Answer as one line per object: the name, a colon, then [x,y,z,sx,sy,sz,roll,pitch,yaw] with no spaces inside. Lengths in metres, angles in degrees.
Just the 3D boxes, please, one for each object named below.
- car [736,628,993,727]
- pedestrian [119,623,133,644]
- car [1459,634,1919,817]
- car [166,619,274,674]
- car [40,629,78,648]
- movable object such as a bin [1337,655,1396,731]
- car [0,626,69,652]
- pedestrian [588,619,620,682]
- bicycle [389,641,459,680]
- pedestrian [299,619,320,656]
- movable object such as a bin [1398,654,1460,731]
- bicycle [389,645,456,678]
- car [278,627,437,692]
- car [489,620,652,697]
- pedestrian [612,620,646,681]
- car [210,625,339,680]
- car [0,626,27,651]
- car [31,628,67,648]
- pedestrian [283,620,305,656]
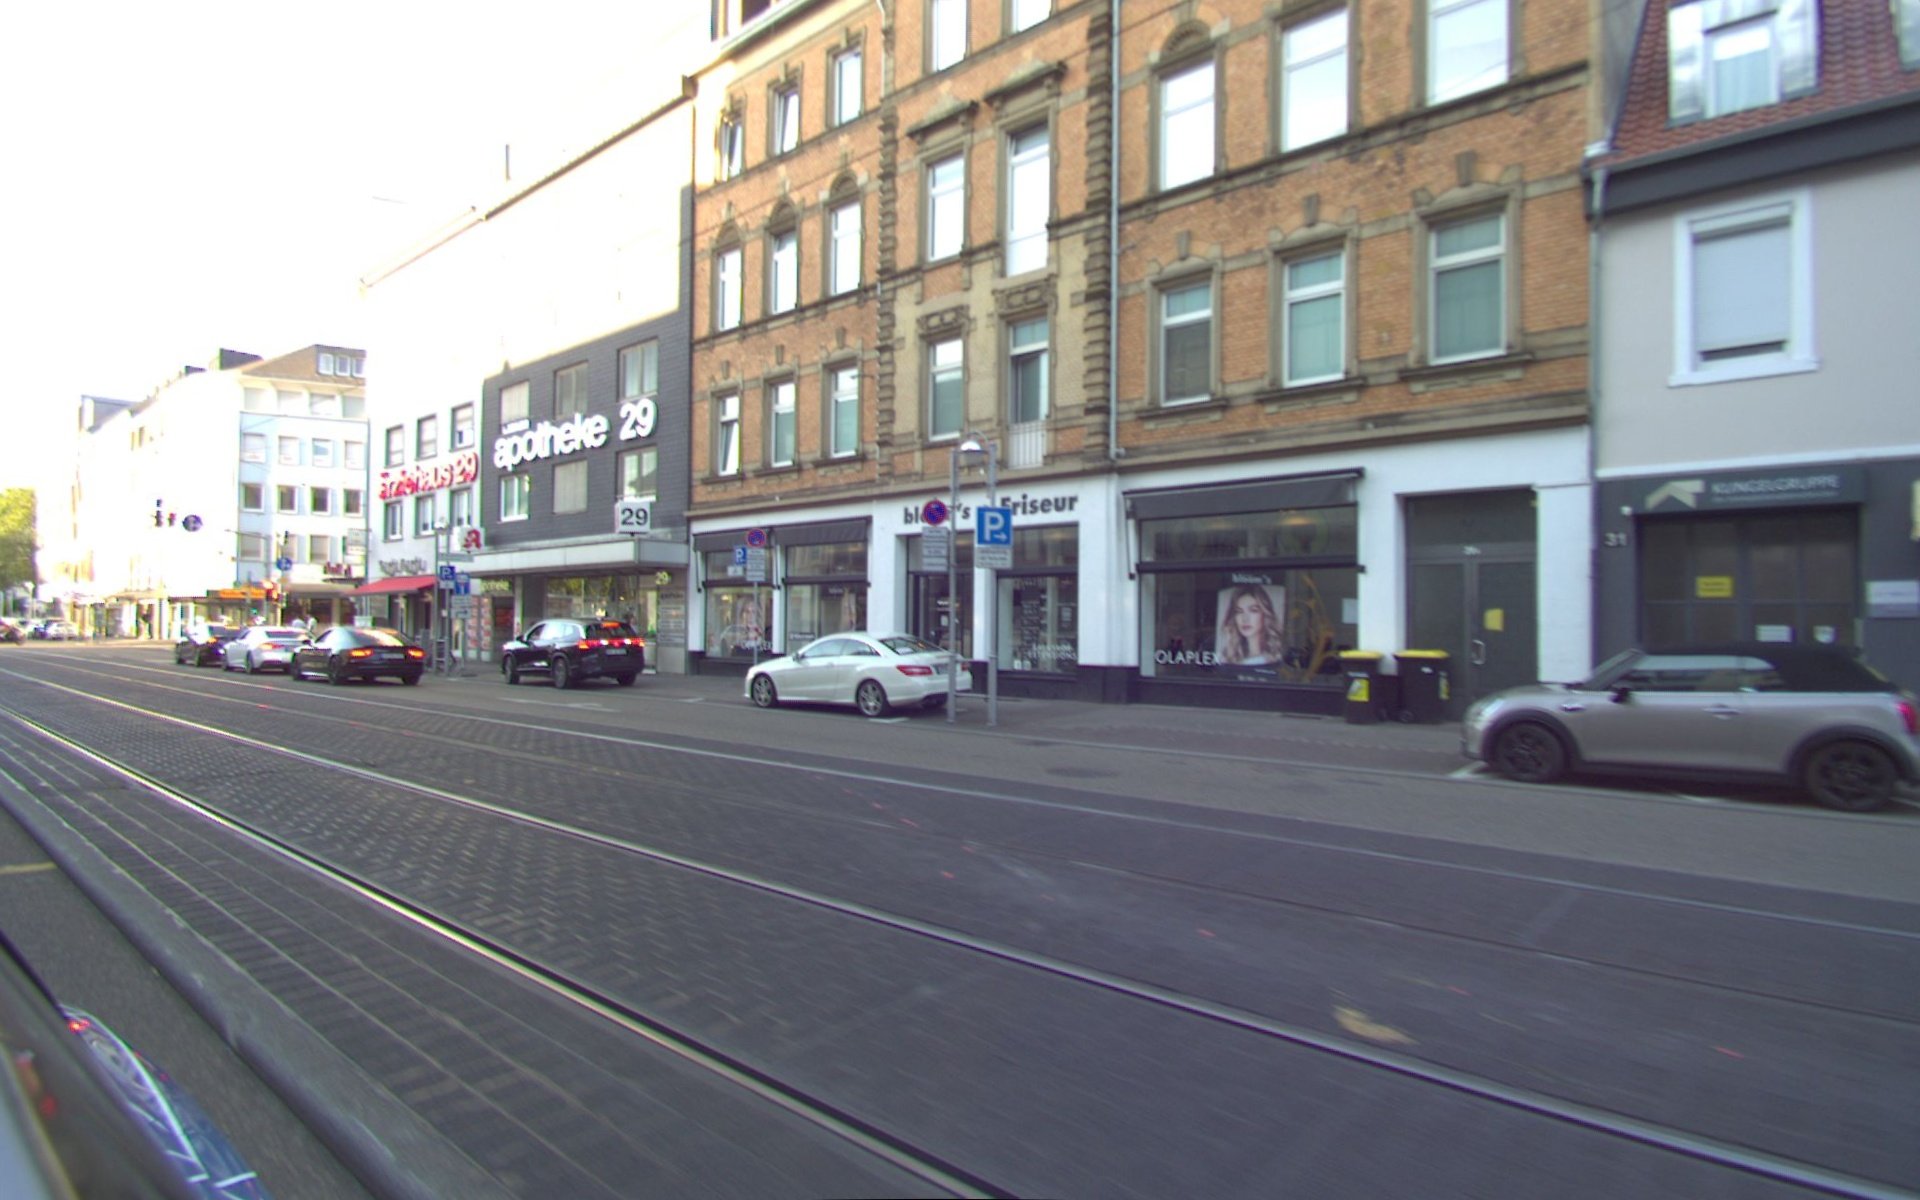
car: [-1.801,1.285,18.148,4.604,1.464,1.851,-1,0,38]
pedestrian: [-61.487,2.457,74.598,0.621,1.483,0.539,-2,0,25]
car: [7.192,1.085,9.952,3.811,1.451,1.581,-2,-1,42]
car: [-24.968,1.548,34.096,4.727,1.740,1.972,-1,-4,43]
car: [-64.448,2.781,72.379,3.387,1.263,1.615,-2,-1,42]
movable object such as a bin: [5.939,1.343,14.781,0.659,1.051,0.512,-1,-1,41]
car: [-50.718,2.118,54.774,1.593,1.344,3.451,-1,-3,33]
pedestrian: [-9.760,1.372,27.736,0.602,1.712,0.614,-2,-2,41]
bicycle: [-16.335,1.828,30.851,0.489,1.055,1.812,-3,-1,41]
pedestrian: [-31.962,1.822,49.730,0.598,1.792,0.631,-1,-2,33]
movable object such as a bin: [6.799,1.324,14.687,0.694,1.041,0.490,-1,-1,41]
bicycle: [-16.742,1.906,31.544,0.455,0.919,1.786,-3,-1,41]
car: [-15.011,1.438,25.122,4.646,1.464,1.973,-1,-3,40]
car: [-9.564,1.353,24.654,4.647,1.687,1.909,-2,-1,44]
pedestrian: [-9.220,1.391,28.190,0.624,1.673,0.675,-2,-2,41]
car: [-20.413,1.545,30.060,4.654,1.464,1.973,-1,-4,41]
car: [-59.648,2.358,62.668,1.690,1.483,3.997,2,-3,-28]
car: [-68.021,2.837,75.569,3.387,1.364,1.615,-2,-1,42]
pedestrian: [-32.289,1.832,49.048,0.666,1.758,0.632,-1,-2,29]
